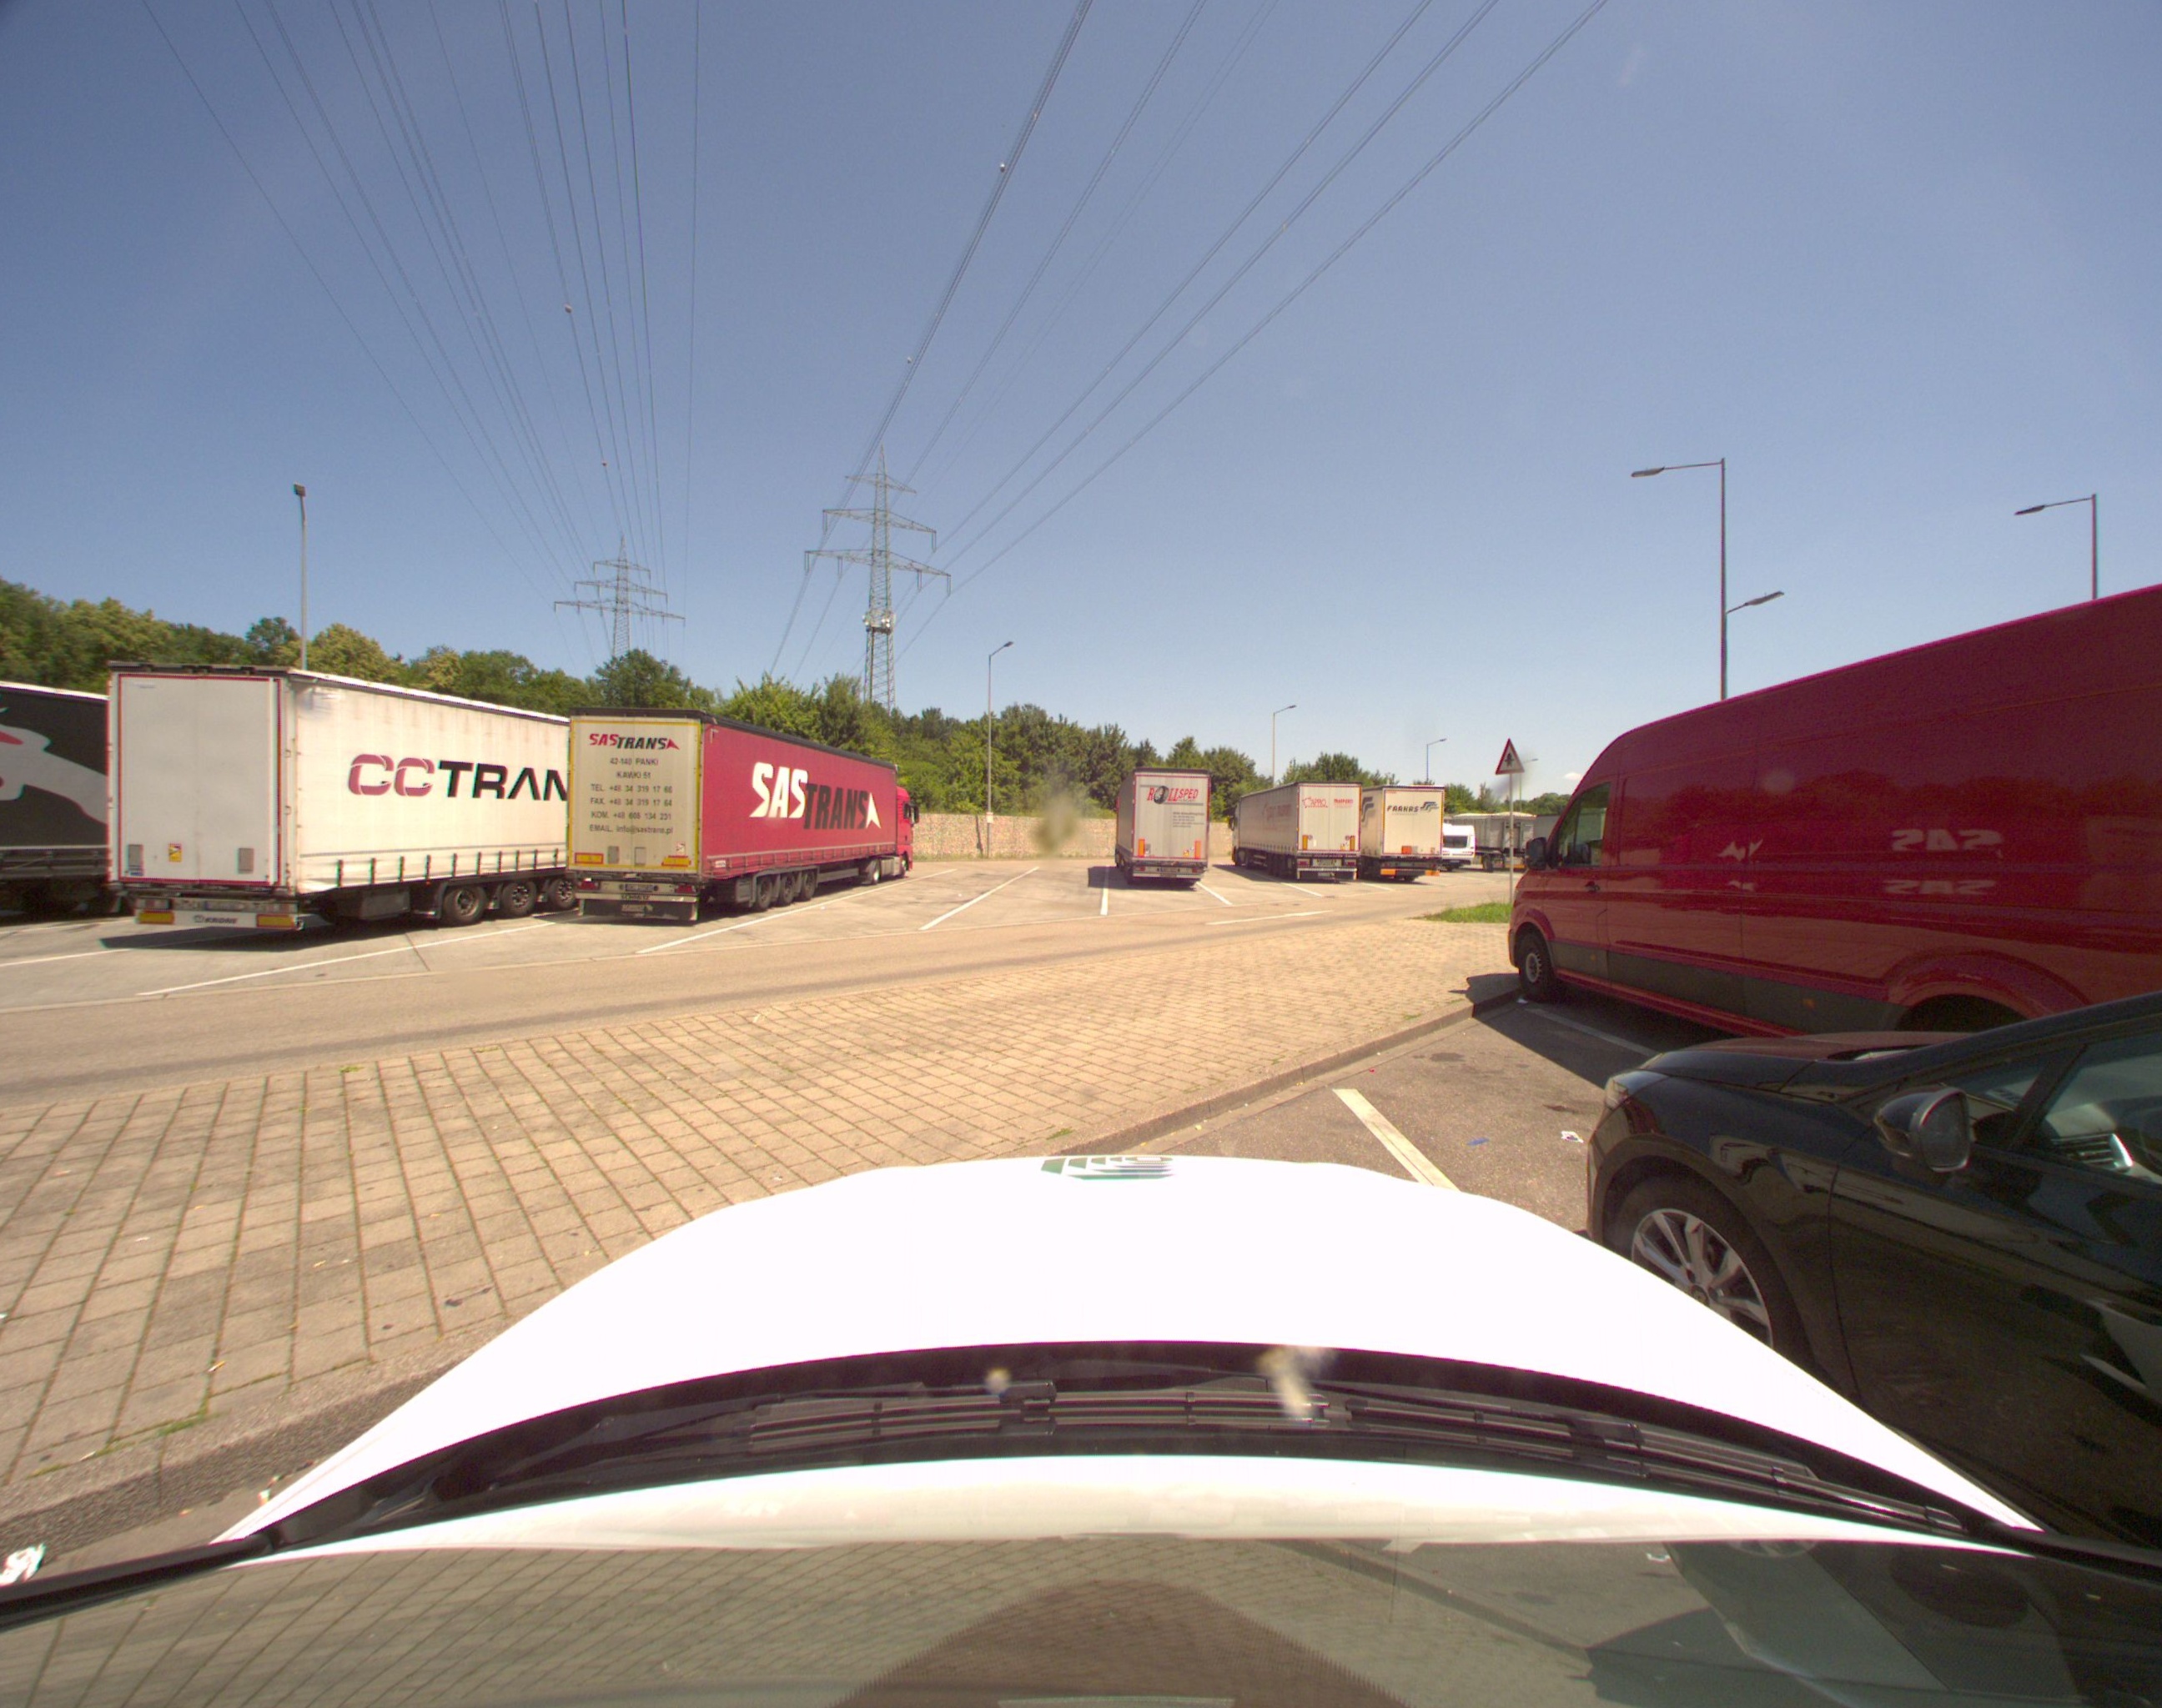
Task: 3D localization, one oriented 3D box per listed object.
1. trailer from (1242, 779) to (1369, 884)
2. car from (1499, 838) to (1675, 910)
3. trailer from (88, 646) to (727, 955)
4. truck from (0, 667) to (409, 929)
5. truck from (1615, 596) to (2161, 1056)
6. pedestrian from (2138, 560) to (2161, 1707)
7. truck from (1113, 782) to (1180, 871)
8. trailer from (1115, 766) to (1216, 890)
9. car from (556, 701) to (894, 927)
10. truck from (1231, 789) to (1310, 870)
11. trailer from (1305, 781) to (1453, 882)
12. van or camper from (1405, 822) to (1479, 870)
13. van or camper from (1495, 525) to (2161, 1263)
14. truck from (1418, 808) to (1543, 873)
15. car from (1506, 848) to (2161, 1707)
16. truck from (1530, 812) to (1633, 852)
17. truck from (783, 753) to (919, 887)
[{"bbox_3d":[9.960,-1.108,37.900,2.856,4.037,12.445,1,2,2],"label":"trailer"},{"bbox_3d":[12.062,0.410,19.751,1.836,1.561,3.949,-1,1,0],"label":"car"},{"bbox_3d":[-12.157,-0.980,17.787,2.803,4.266,12.947,0,2,2],"label":"trailer"},{"bbox_3d":[-18.612,-1.027,16.268,2.803,4.190,8.793,0,2,2],"label":"truck"},{"bbox_3d":[7.944,-0.211,7.063,2.455,2.792,6.978,0,1,4],"label":"truck"},{"bbox_3d":[1.430,0.479,0.527,0.648,1.586,0.651,0,1,11],"label":"pedestrian"},{"bbox_3d":[3.144,-1.399,40.815,2.857,4.037,7.029,0,2,1],"label":"truck"},{"bbox_3d":[3.051,-1.108,33.727,2.857,4.037,14.244,0,2,1],"label":"trailer"},{"bbox_3d":[-8.043,-0.939,21.431,2.686,4.112,12.943,1,2,2],"label":"car"},{"bbox_3d":[10.186,-1.373,44.532,2.856,4.037,6.960,1,2,2],"label":"truck"},{"bbox_3d":[13.647,-1.127,38.875,2.856,4.037,12.445,1,2,2],"label":"trailer"},{"bbox_3d":[20.596,-0.470,46.739,2.096,2.561,5.376,-1,1,3],"label":"van or camper"},{"bbox_3d":[5.144,0.099,5.491,1.986,2.654,6.490,-1,1,6],"label":"van or camper"},{"bbox_3d":[24.306,-0.961,50.498,2.478,3.568,11.429,1,2,2],"label":"truck"},{"bbox_3d":[2.460,0.755,1.139,1.612,1.483,3.762,-1,1,-4],"label":"car"},{"bbox_3d":[38.040,-1.648,62.376,2.117,2.820,9.783,-1,1,2],"label":"truck"},{"bbox_3d":[-7.744,-1.158,28.347,2.686,4.112,6.243,1,2,2],"label":"truck"}]
